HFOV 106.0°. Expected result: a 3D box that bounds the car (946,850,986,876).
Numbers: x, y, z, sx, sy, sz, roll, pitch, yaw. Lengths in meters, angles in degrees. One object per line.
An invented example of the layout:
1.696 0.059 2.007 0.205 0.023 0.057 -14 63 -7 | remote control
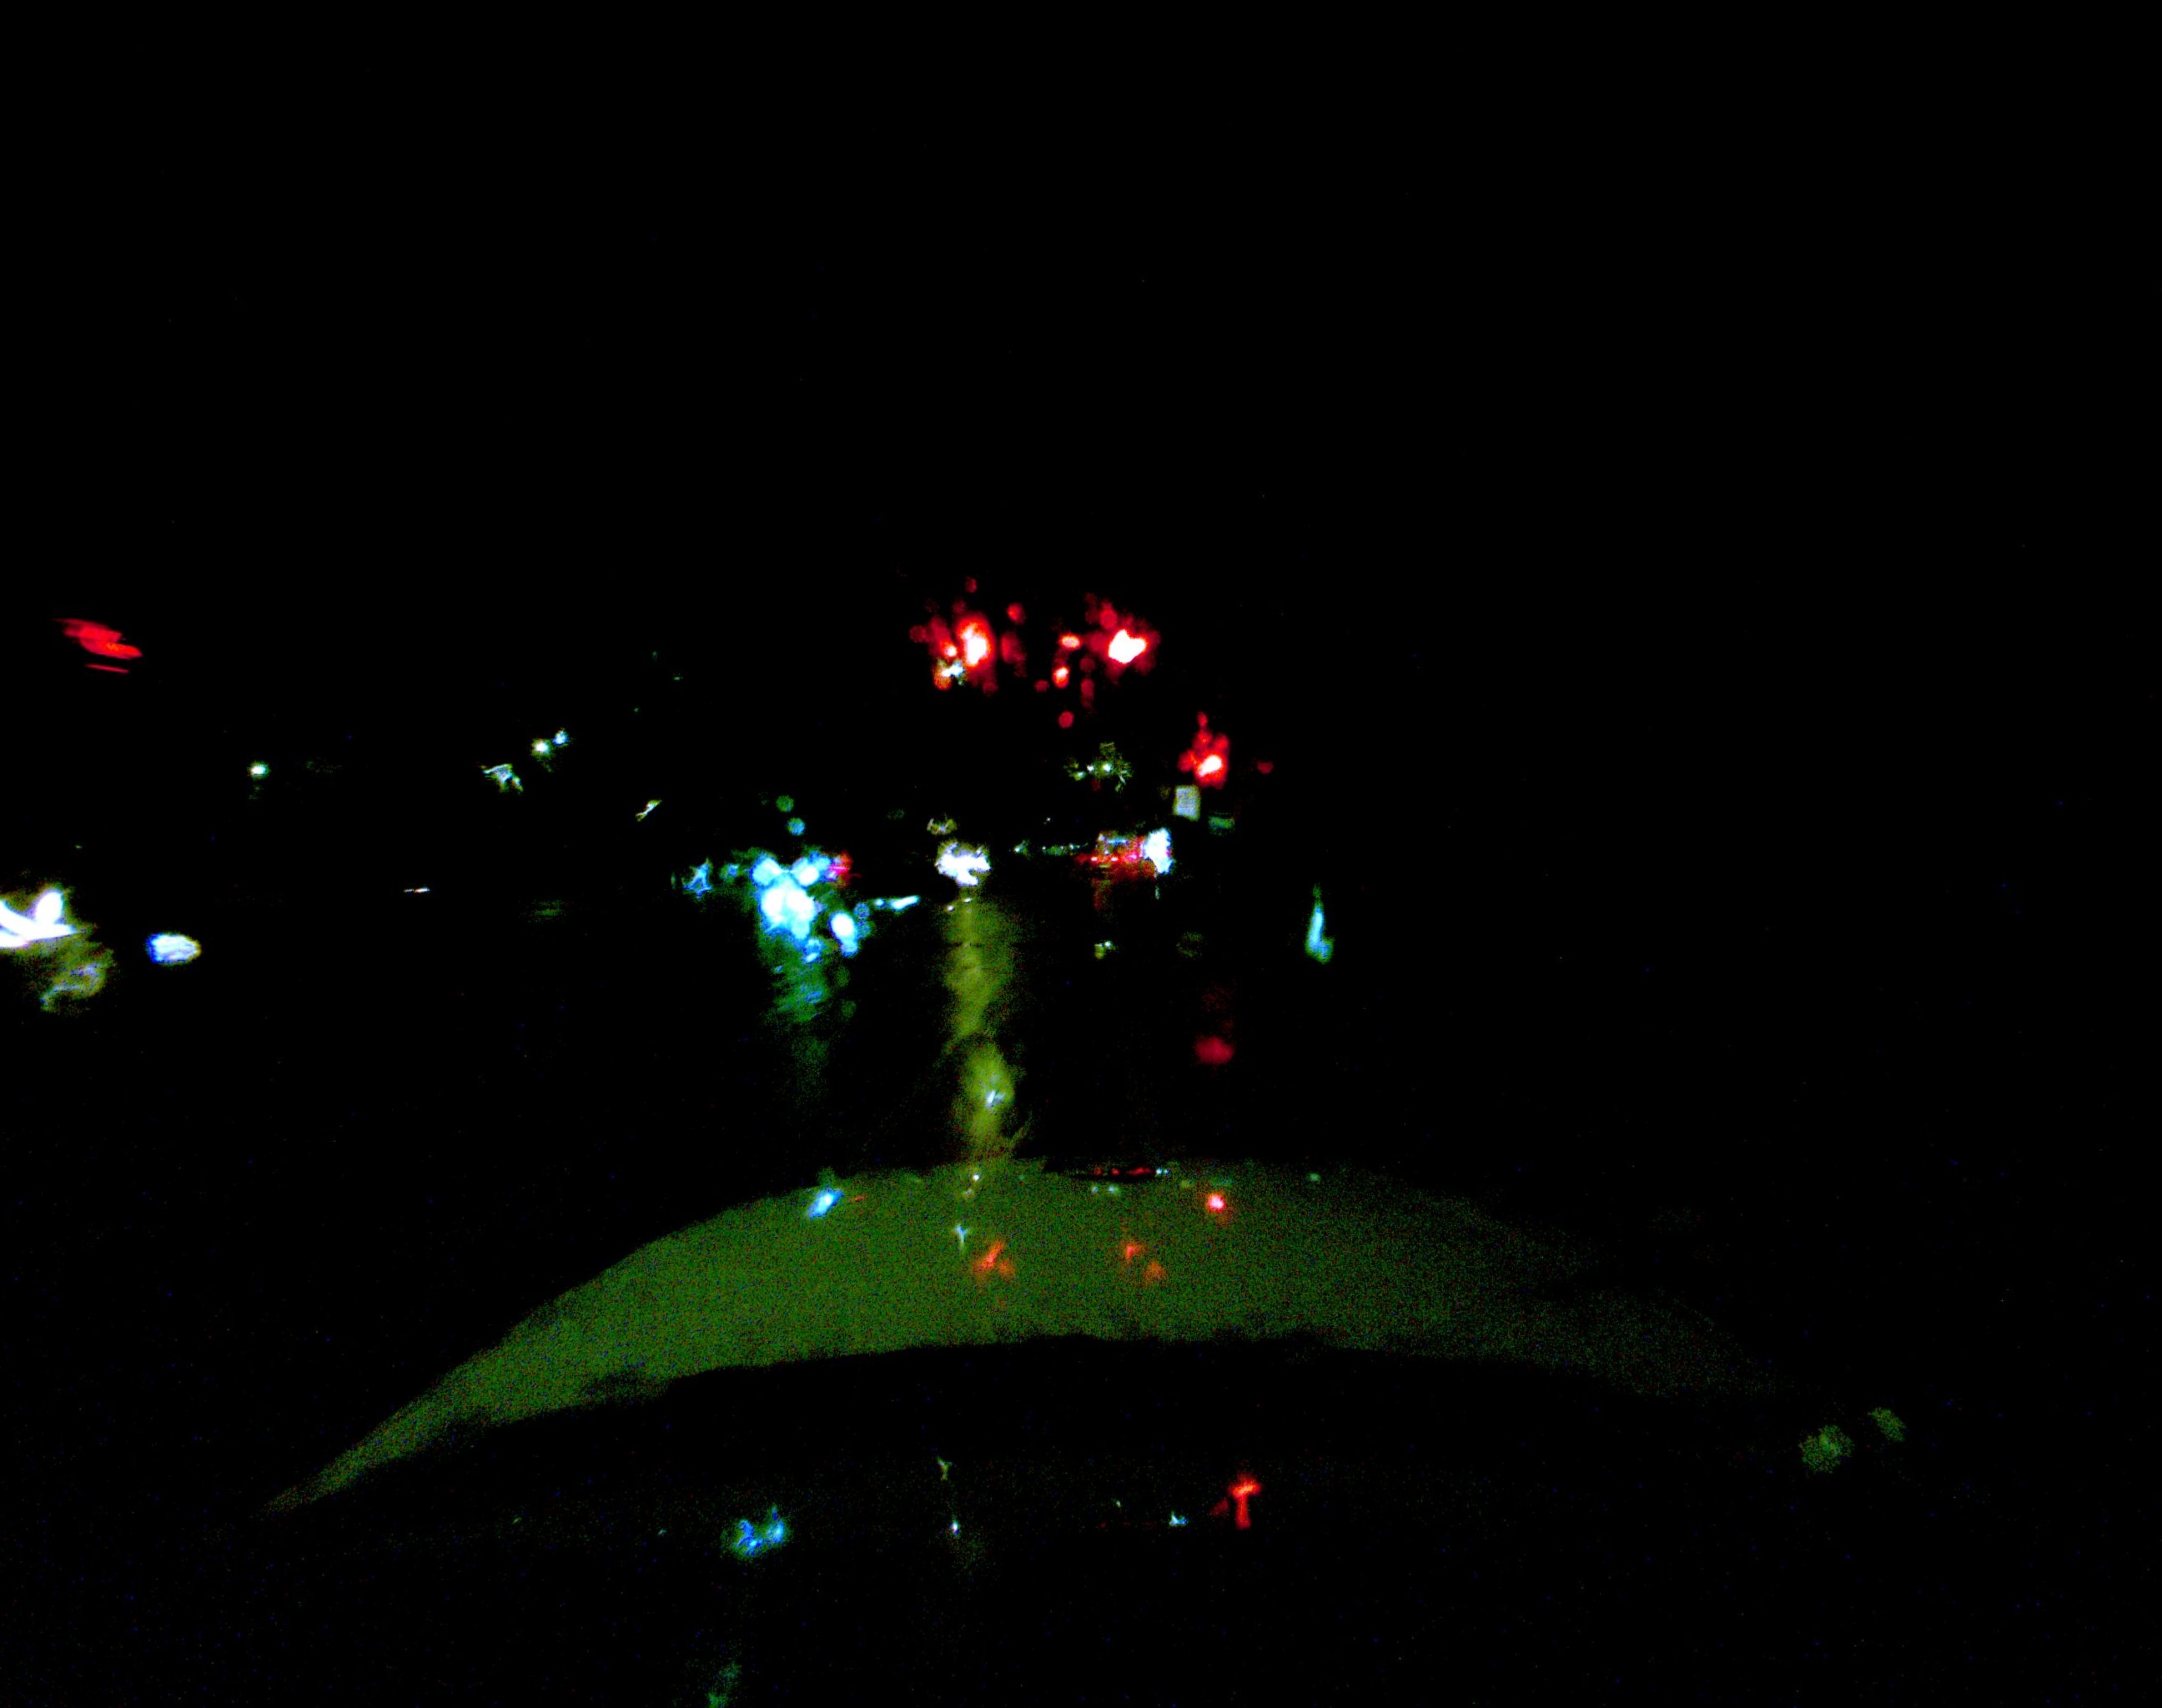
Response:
-7.212 0.581 51.243 1.577 1.526 3.658 -1 -1 6 | car

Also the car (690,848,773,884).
-19.556 0.631 45.595 4.016 1.831 1.703 -2 1 -34 | car

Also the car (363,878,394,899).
-56.147 2.809 65.063 1.668 1.498 4.322 -4 0 -42 | car

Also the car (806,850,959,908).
-6.011 0.717 24.788 4.119 1.611 1.979 0 -1 -34 | car

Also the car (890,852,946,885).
-8.270 0.693 41.769 1.692 1.571 4.715 -1 0 3 | car

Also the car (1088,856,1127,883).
1.538 0.887 46.713 2.094 1.439 4.002 -1 -1 3 | car

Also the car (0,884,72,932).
-36.997 1.835 28.181 4.830 1.503 1.762 -1 -1 29 | car

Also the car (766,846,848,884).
-12.211 0.470 36.661 1.785 1.571 4.917 -1 0 3 | car

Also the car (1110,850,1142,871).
3.082 0.442 55.716 2.098 1.339 4.297 -1 -1 3 | car
